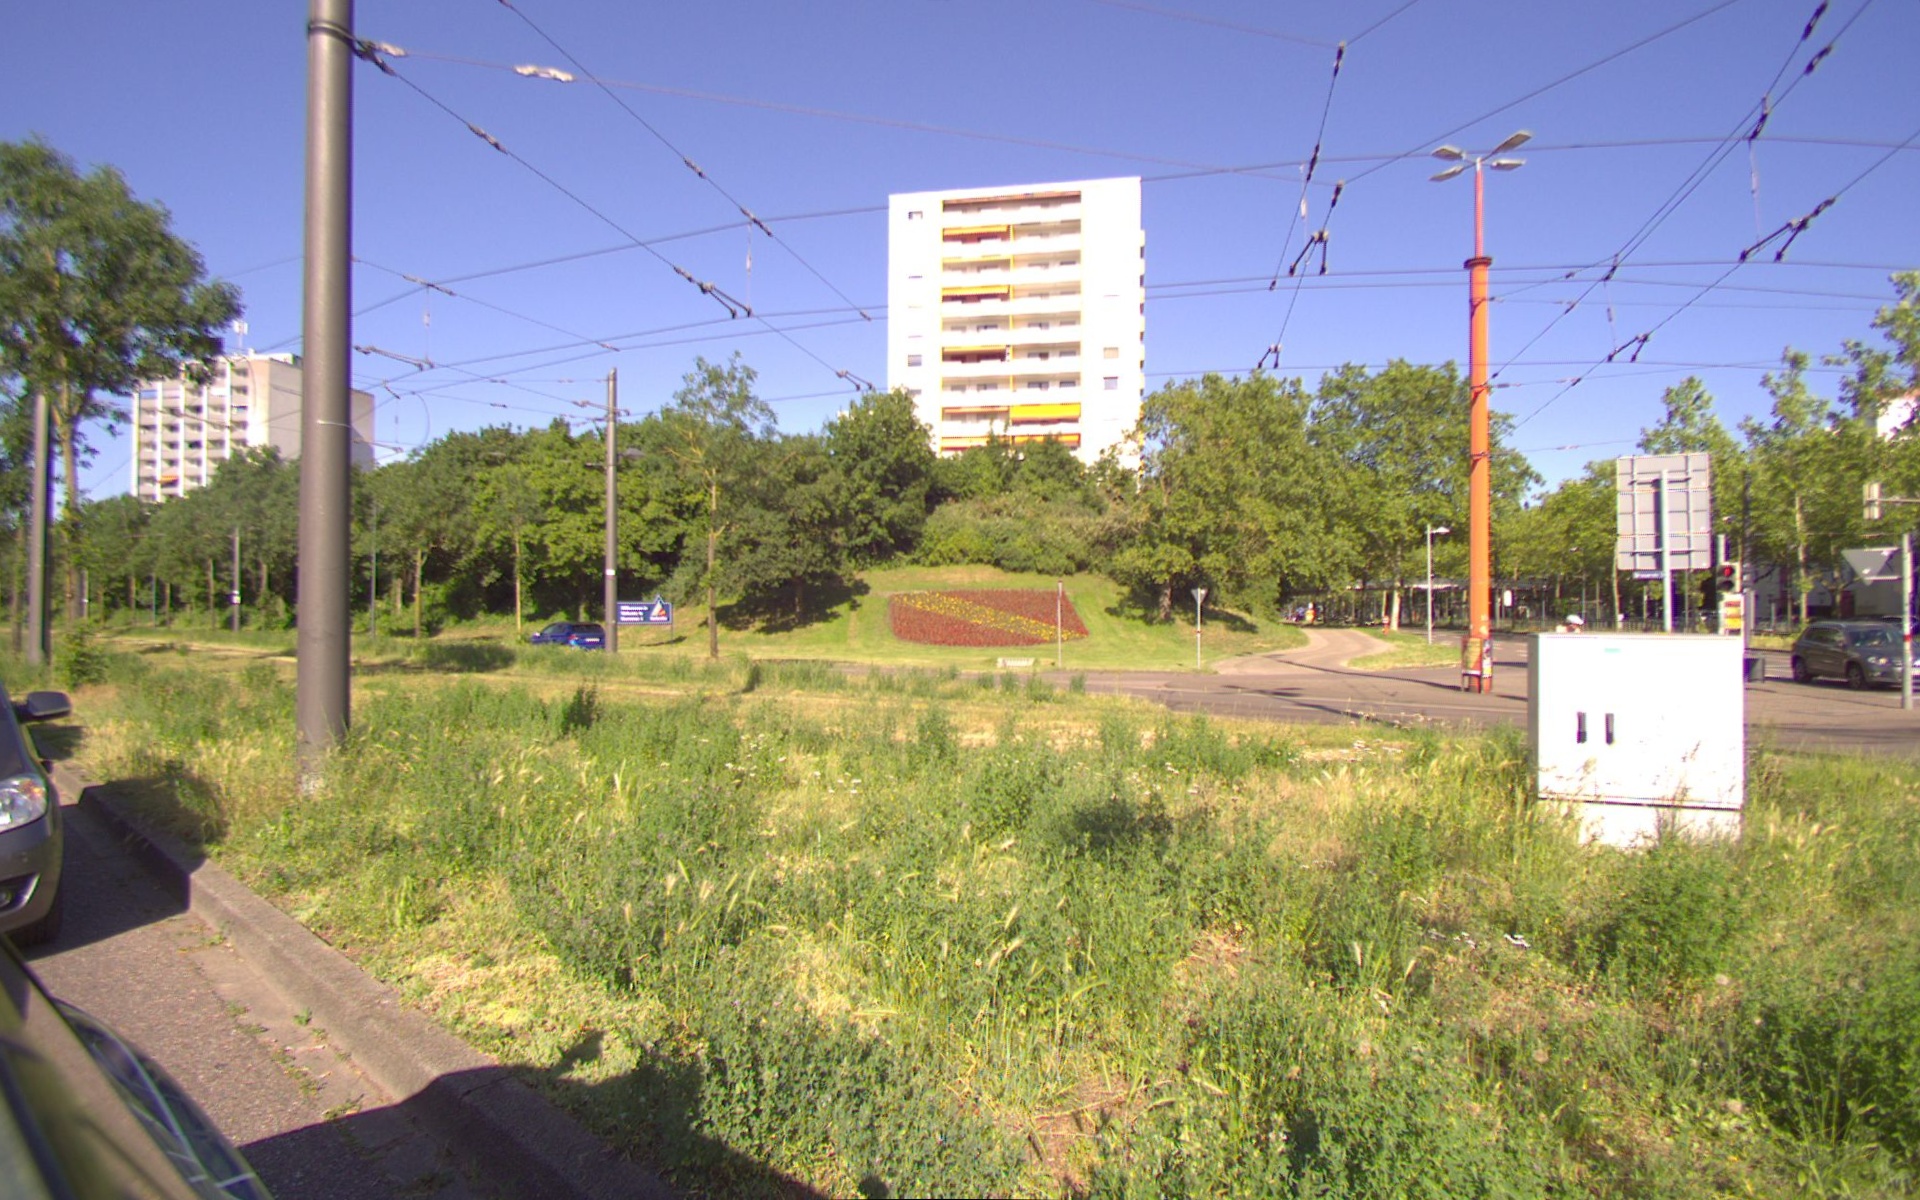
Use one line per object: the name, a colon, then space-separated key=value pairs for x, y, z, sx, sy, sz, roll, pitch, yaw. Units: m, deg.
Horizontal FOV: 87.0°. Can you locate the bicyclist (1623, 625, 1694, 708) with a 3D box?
bicyclist: x=13.499 y=1.262 z=19.581 sx=0.710 sy=1.536 sz=0.924 roll=-1 pitch=0 yaw=0

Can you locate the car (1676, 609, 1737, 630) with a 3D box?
car: x=72.155 y=1.930 z=97.863 sx=1.909 sy=1.999 sz=4.350 roll=1 pitch=-2 yaw=-38

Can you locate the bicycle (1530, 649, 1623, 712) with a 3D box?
bicycle: x=12.076 y=1.545 z=19.884 sx=0.571 sy=1.079 sz=1.917 roll=-1 pitch=0 yaw=-2

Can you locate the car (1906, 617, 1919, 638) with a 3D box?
car: x=63.696 y=1.769 z=65.154 sx=1.472 sy=1.341 sz=3.746 roll=-1 pitch=0 yaw=-27

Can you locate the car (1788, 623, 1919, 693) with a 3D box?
car: x=23.023 y=1.388 z=25.411 sx=1.900 sy=1.507 sz=4.026 roll=-1 pitch=0 yaw=15

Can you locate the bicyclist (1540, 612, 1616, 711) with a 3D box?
bicyclist: x=12.122 y=1.189 z=19.867 sx=0.880 sy=1.881 sz=0.924 roll=-1 pitch=0 yaw=-2

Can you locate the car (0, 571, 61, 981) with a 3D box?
car: x=-5.818 y=0.750 z=4.886 sx=3.998 sy=1.652 sz=1.726 roll=-1 pitch=0 yaw=41

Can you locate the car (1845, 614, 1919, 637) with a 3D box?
car: x=63.812 y=1.735 z=69.986 sx=1.589 sy=1.471 sz=3.656 roll=-1 pitch=0 yaw=-38

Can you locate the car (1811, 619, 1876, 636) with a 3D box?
car: x=64.416 y=1.980 z=73.837 sx=1.425 sy=1.197 sz=3.423 roll=-1 pitch=0 yaw=-41

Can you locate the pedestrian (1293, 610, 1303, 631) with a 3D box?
pedestrian: x=25.674 y=1.523 z=76.890 sx=0.682 sy=1.568 sz=0.984 roll=-1 pitch=-1 yaw=21

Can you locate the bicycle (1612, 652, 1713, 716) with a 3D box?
bicycle: x=13.511 y=1.592 z=19.531 sx=0.571 sy=1.079 sz=1.916 roll=-1 pitch=0 yaw=0

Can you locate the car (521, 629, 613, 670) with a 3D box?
car: x=-14.460 y=1.785 z=37.170 sx=3.908 sy=1.431 sz=1.557 roll=-1 pitch=-2 yaw=42
